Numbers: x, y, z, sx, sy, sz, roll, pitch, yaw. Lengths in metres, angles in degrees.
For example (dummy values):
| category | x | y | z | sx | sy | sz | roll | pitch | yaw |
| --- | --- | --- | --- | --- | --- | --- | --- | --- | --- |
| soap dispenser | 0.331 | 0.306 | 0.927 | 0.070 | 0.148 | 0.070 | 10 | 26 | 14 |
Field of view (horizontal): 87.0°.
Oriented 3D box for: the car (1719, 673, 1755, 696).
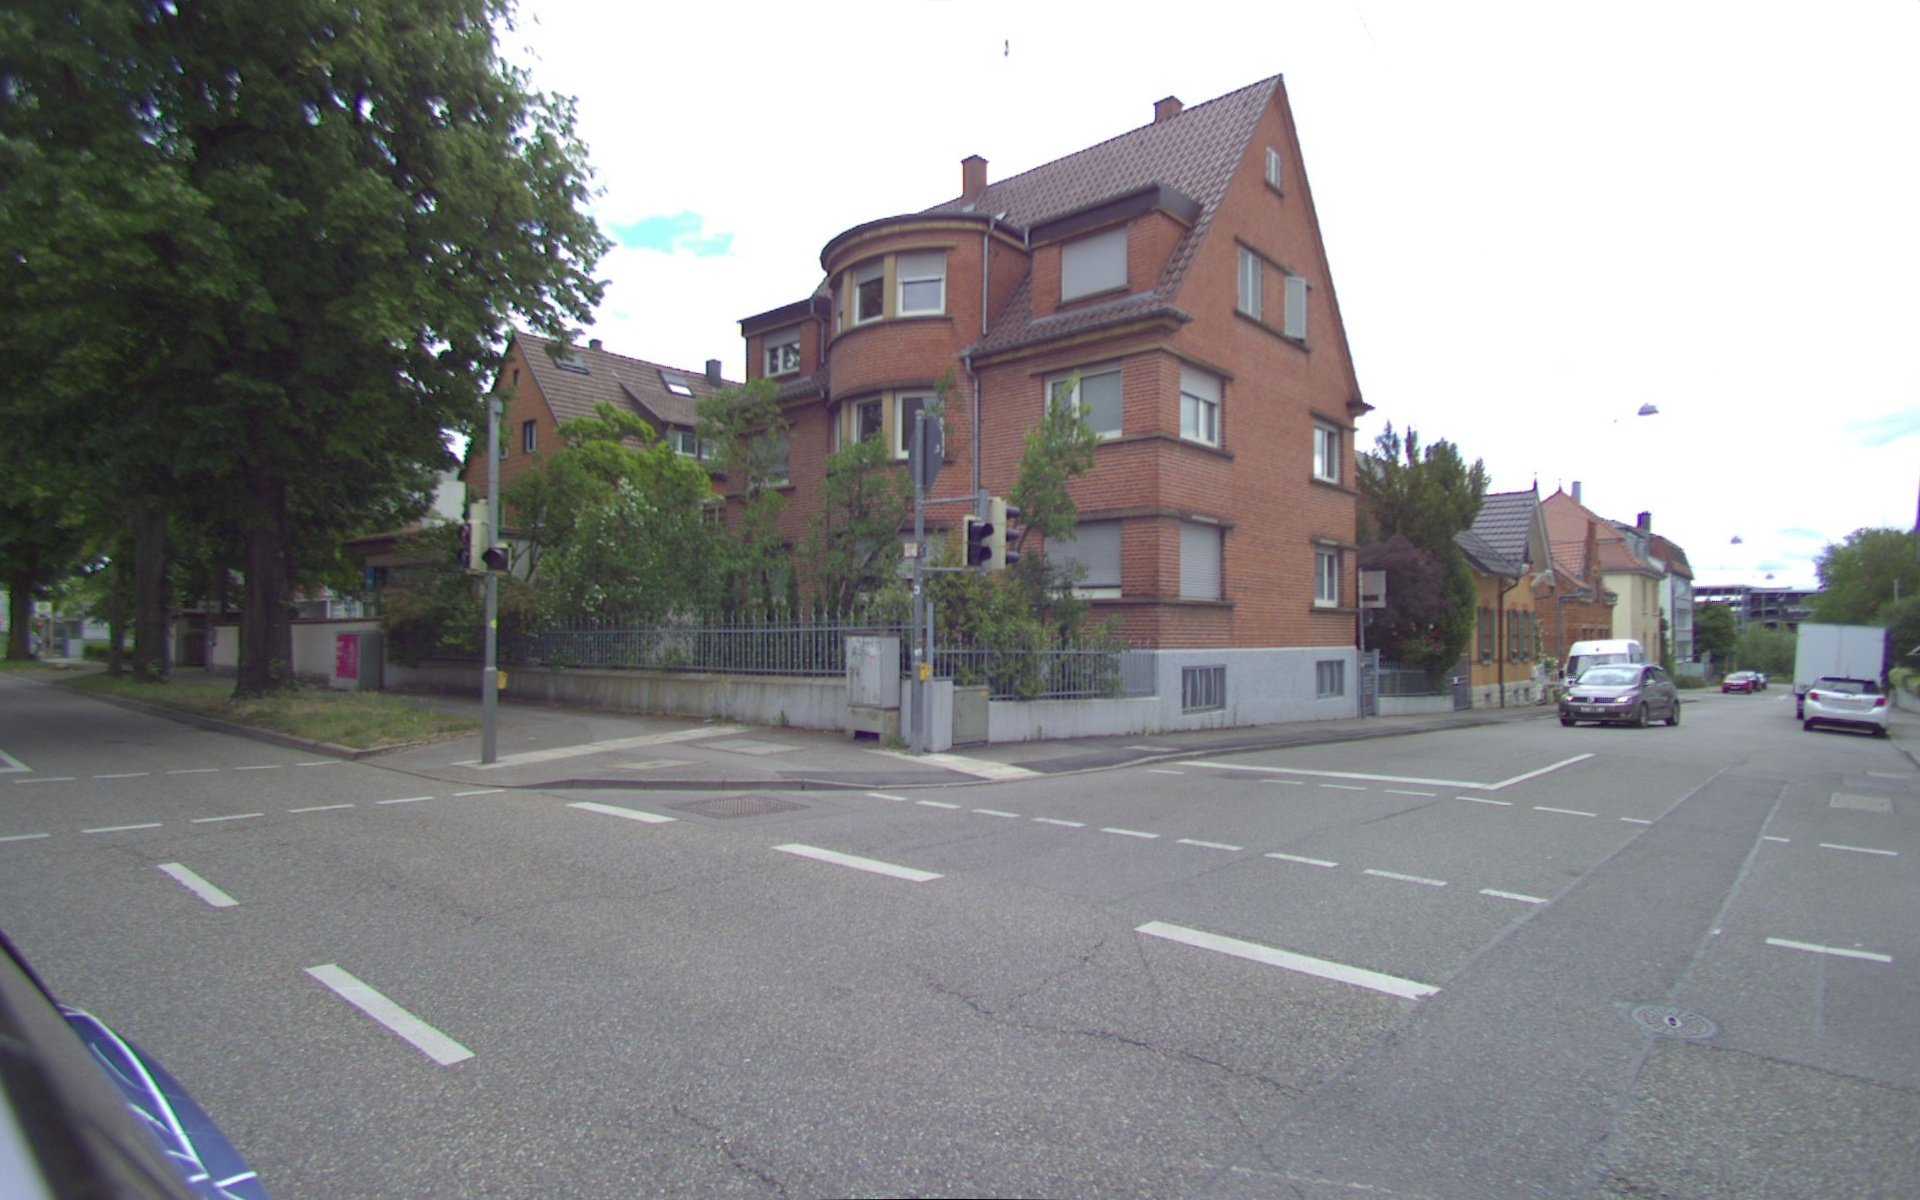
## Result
| category | x | y | z | sx | sy | sz | roll | pitch | yaw |
| --- | --- | --- | --- | --- | --- | --- | --- | --- | --- |
| car | 61.377 | 6.649 | 79.902 | 1.999 | 1.519 | 3.945 | -1 | -1 | 41 |

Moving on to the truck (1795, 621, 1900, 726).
| category | x | y | z | sx | sy | sz | roll | pitch | yaw |
| --- | --- | --- | --- | --- | --- | --- | --- | --- | --- |
| truck | 30.140 | 2.471 | 34.408 | 2.449 | 3.257 | 6.128 | -1 | -4 | 42 |

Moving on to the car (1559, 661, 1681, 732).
| category | x | y | z | sx | sy | sz | roll | pitch | yaw |
| --- | --- | --- | --- | --- | --- | --- | --- | --- | --- |
| car | 16.353 | 2.393 | 24.994 | 1.897 | 1.597 | 3.945 | -5 | -7 | 41 |

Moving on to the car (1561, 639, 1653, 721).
| category | x | y | z | sx | sy | sz | roll | pitch | yaw |
| --- | --- | --- | --- | --- | --- | --- | --- | --- | --- |
| car | 22.138 | 2.717 | 34.509 | 2.038 | 2.529 | 5.913 | -2 | -5 | 38 |

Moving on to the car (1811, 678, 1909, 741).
| category | x | y | z | sx | sy | sz | roll | pitch | yaw |
| --- | --- | --- | --- | --- | --- | --- | --- | --- | --- |
| car | 23.424 | 2.806 | 26.467 | 1.747 | 1.433 | 3.946 | -1 | -4 | 40 |
